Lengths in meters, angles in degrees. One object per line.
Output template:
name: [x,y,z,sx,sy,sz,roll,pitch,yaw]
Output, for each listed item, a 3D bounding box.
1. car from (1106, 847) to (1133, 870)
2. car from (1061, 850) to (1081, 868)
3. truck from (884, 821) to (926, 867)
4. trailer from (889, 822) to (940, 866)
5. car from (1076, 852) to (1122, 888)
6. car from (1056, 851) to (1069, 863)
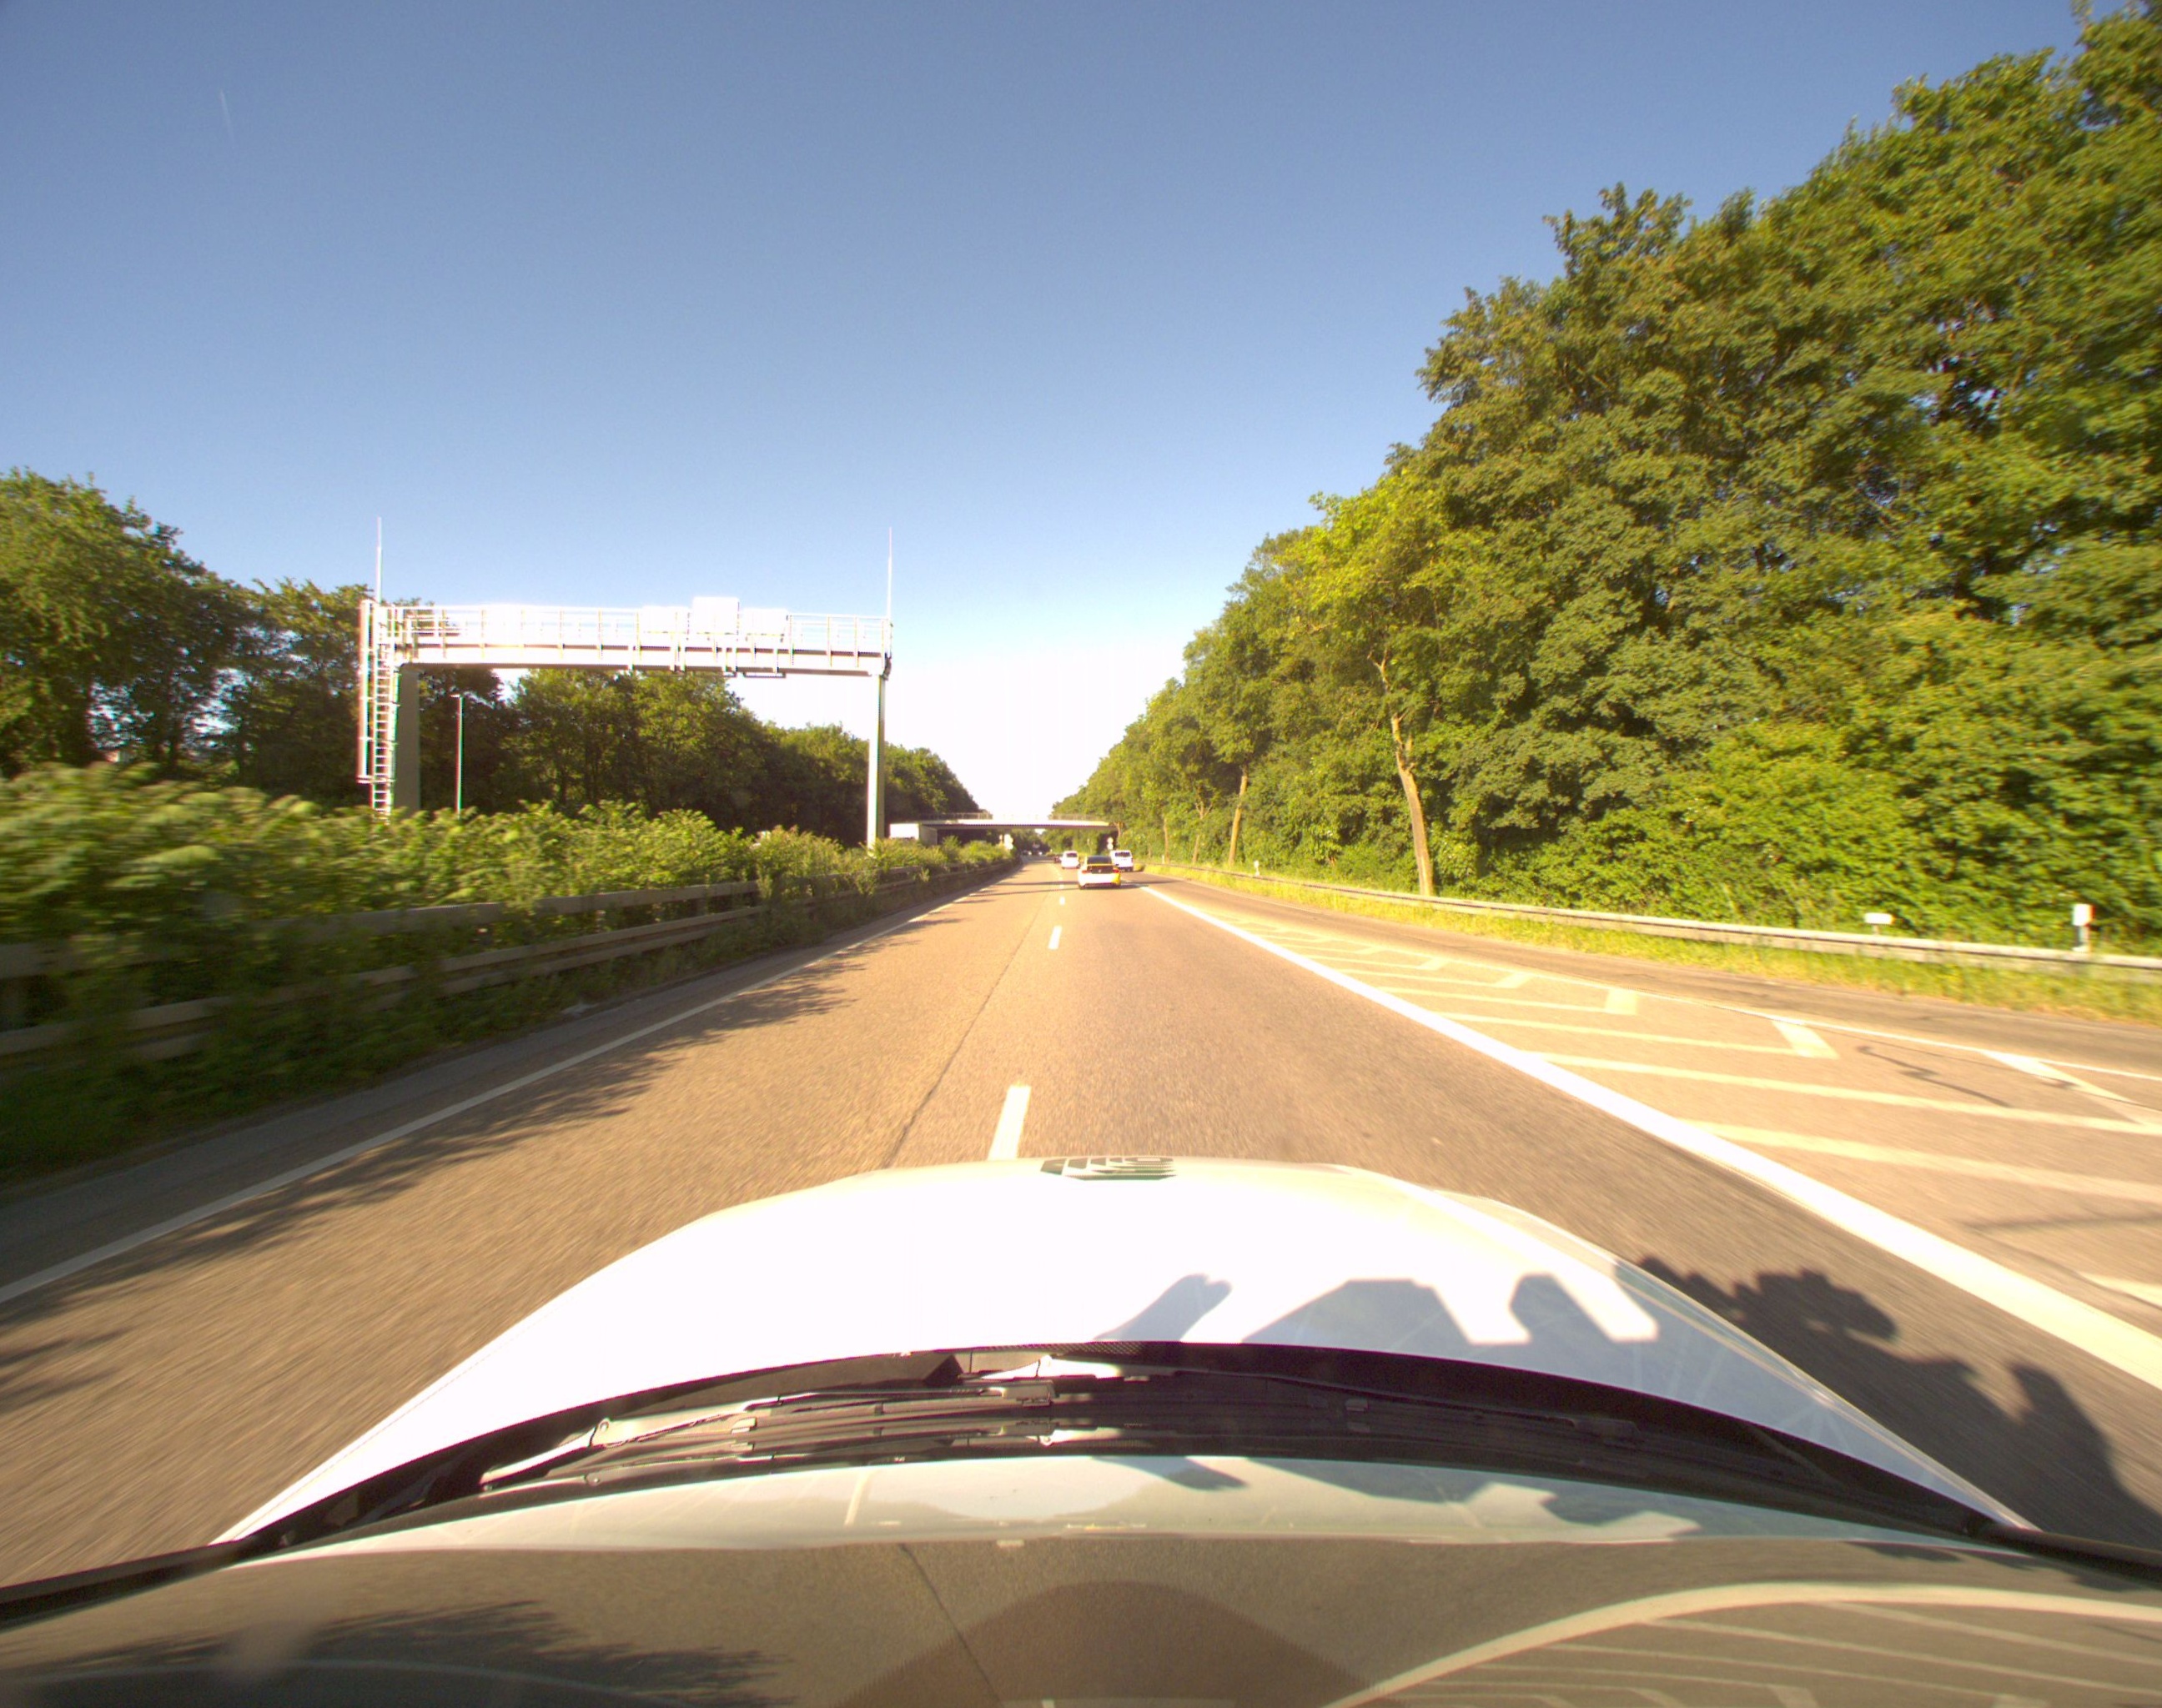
car: [3.106,0.371,66.518,1.892,1.824,3.997,1,0,-2]
car: [-1.043,0.499,83.038,1.893,1.767,3.995,-1,0,-4]
truck: [-16.165,-0.880,75.104,2.732,4.027,6.173,0,0,-3]
trailer: [-16.446,-0.898,81.552,2.731,4.027,14.061,0,0,-2]
car: [0.767,0.686,36.539,1.891,1.471,3.999,-1,0,0]
car: [-2.785,0.493,122.279,1.893,1.767,3.996,-1,0,-3]
